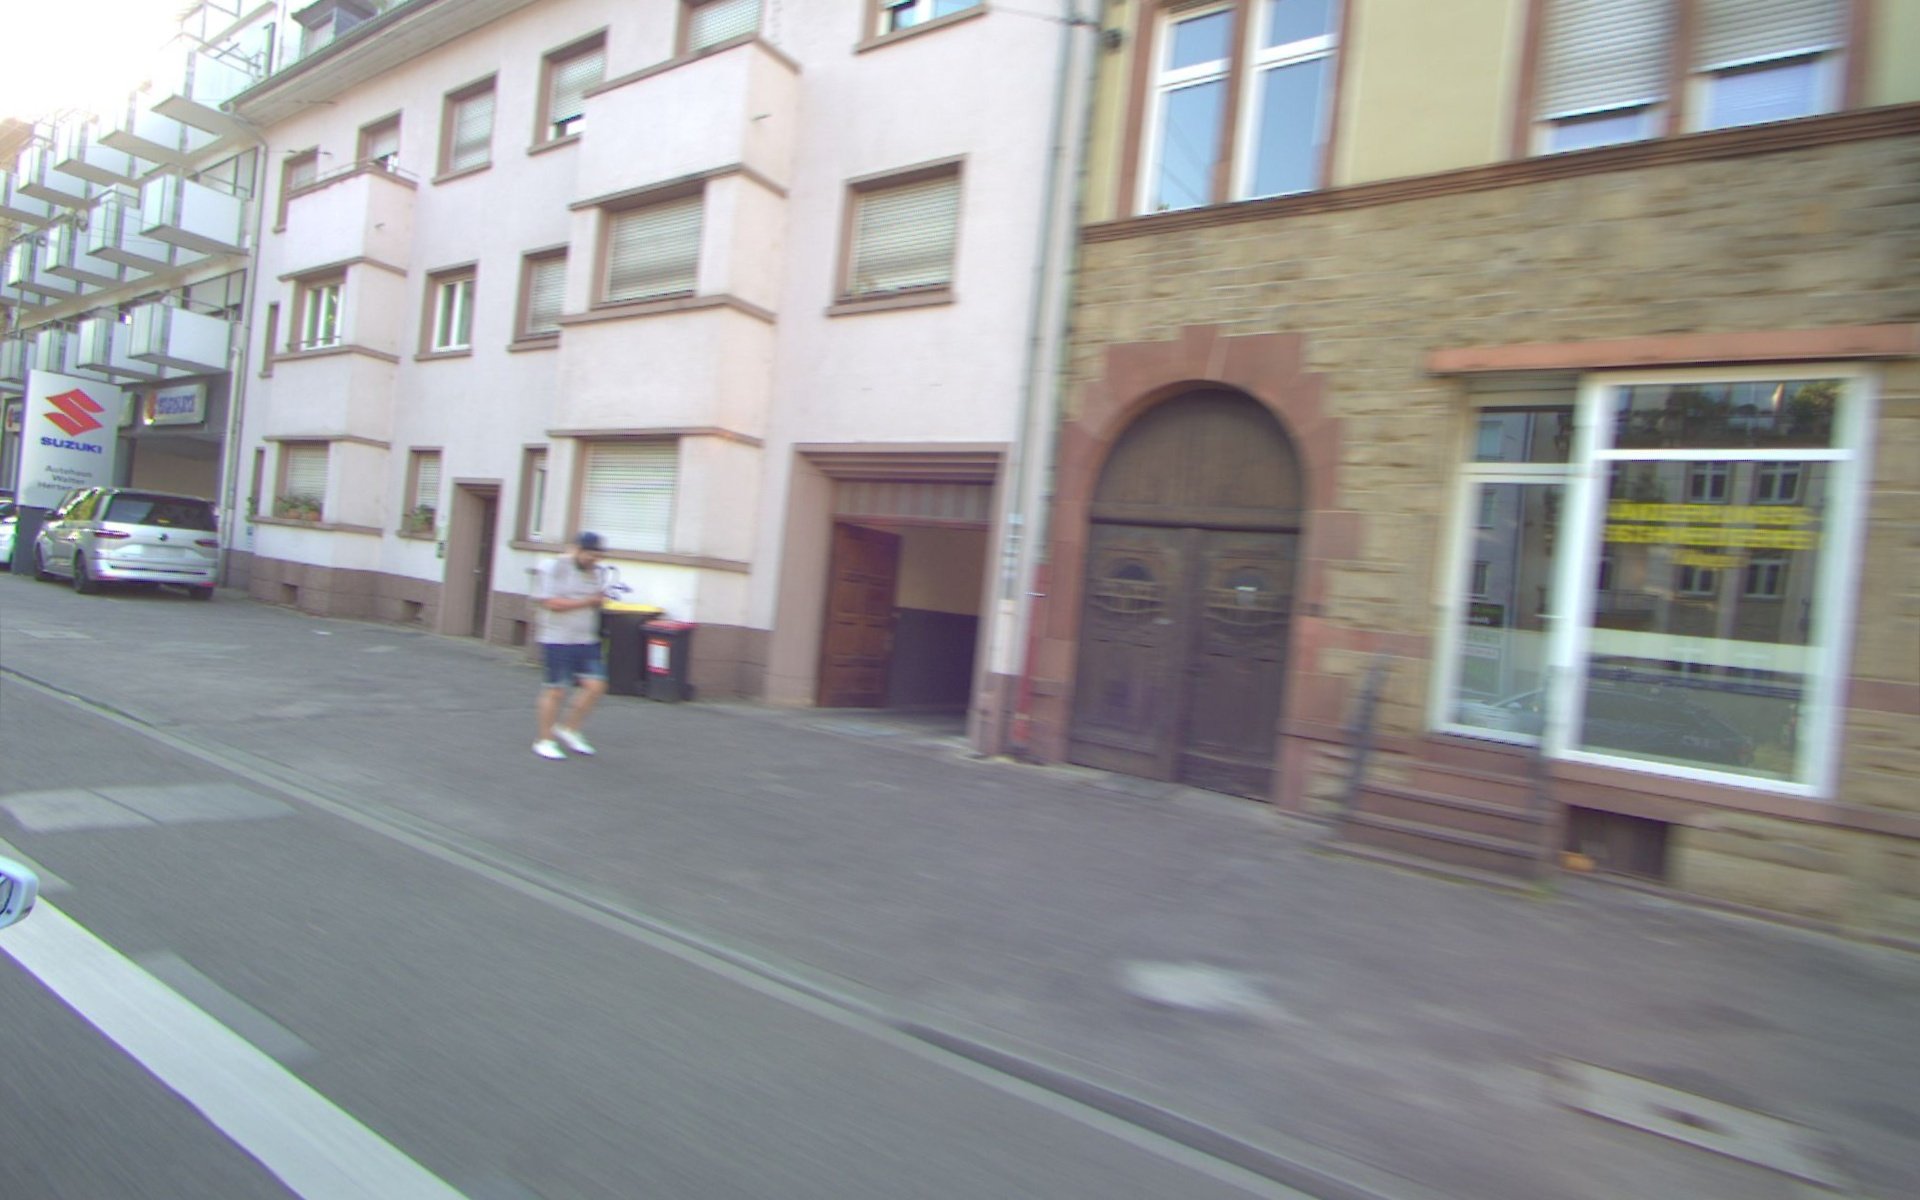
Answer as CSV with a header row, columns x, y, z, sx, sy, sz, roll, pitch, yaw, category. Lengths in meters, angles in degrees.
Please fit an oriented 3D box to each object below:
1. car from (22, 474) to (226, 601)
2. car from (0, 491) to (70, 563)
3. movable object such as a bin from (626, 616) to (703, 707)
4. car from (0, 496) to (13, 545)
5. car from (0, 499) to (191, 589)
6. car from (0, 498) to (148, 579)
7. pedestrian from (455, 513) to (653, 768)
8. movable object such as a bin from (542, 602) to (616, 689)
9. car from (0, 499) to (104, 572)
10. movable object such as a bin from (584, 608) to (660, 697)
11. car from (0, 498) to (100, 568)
x,y,z,sx,sy,sz,roll,pitch,yaw,category
-15.787,-1.198,18.904,4.828,1.972,1.891,5,0,38,car
-26.446,-2.113,26.921,1.656,1.741,3.579,8,1,37,car
-3.426,0.711,11.673,0.576,0.981,0.553,6,0,37,movable object such as a bin
-32.147,-2.722,31.446,1.731,1.537,3.417,6,-1,37,car
-19.391,-1.241,21.791,1.881,1.519,3.817,8,0,30,car
-21.489,-1.498,23.192,1.780,1.533,3.871,7,0,33,car
-3.222,0.298,7.986,1.132,1.835,0.829,6,0,34,pedestrian
-4.672,0.560,12.328,0.576,0.981,0.553,6,0,37,movable object such as a bin
-23.155,-1.663,24.233,1.712,1.544,3.422,7,0,31,car
-3.998,0.623,11.899,0.576,0.981,0.553,6,0,37,movable object such as a bin
-24.825,-1.847,25.764,1.829,1.559,3.821,7,0,33,car
